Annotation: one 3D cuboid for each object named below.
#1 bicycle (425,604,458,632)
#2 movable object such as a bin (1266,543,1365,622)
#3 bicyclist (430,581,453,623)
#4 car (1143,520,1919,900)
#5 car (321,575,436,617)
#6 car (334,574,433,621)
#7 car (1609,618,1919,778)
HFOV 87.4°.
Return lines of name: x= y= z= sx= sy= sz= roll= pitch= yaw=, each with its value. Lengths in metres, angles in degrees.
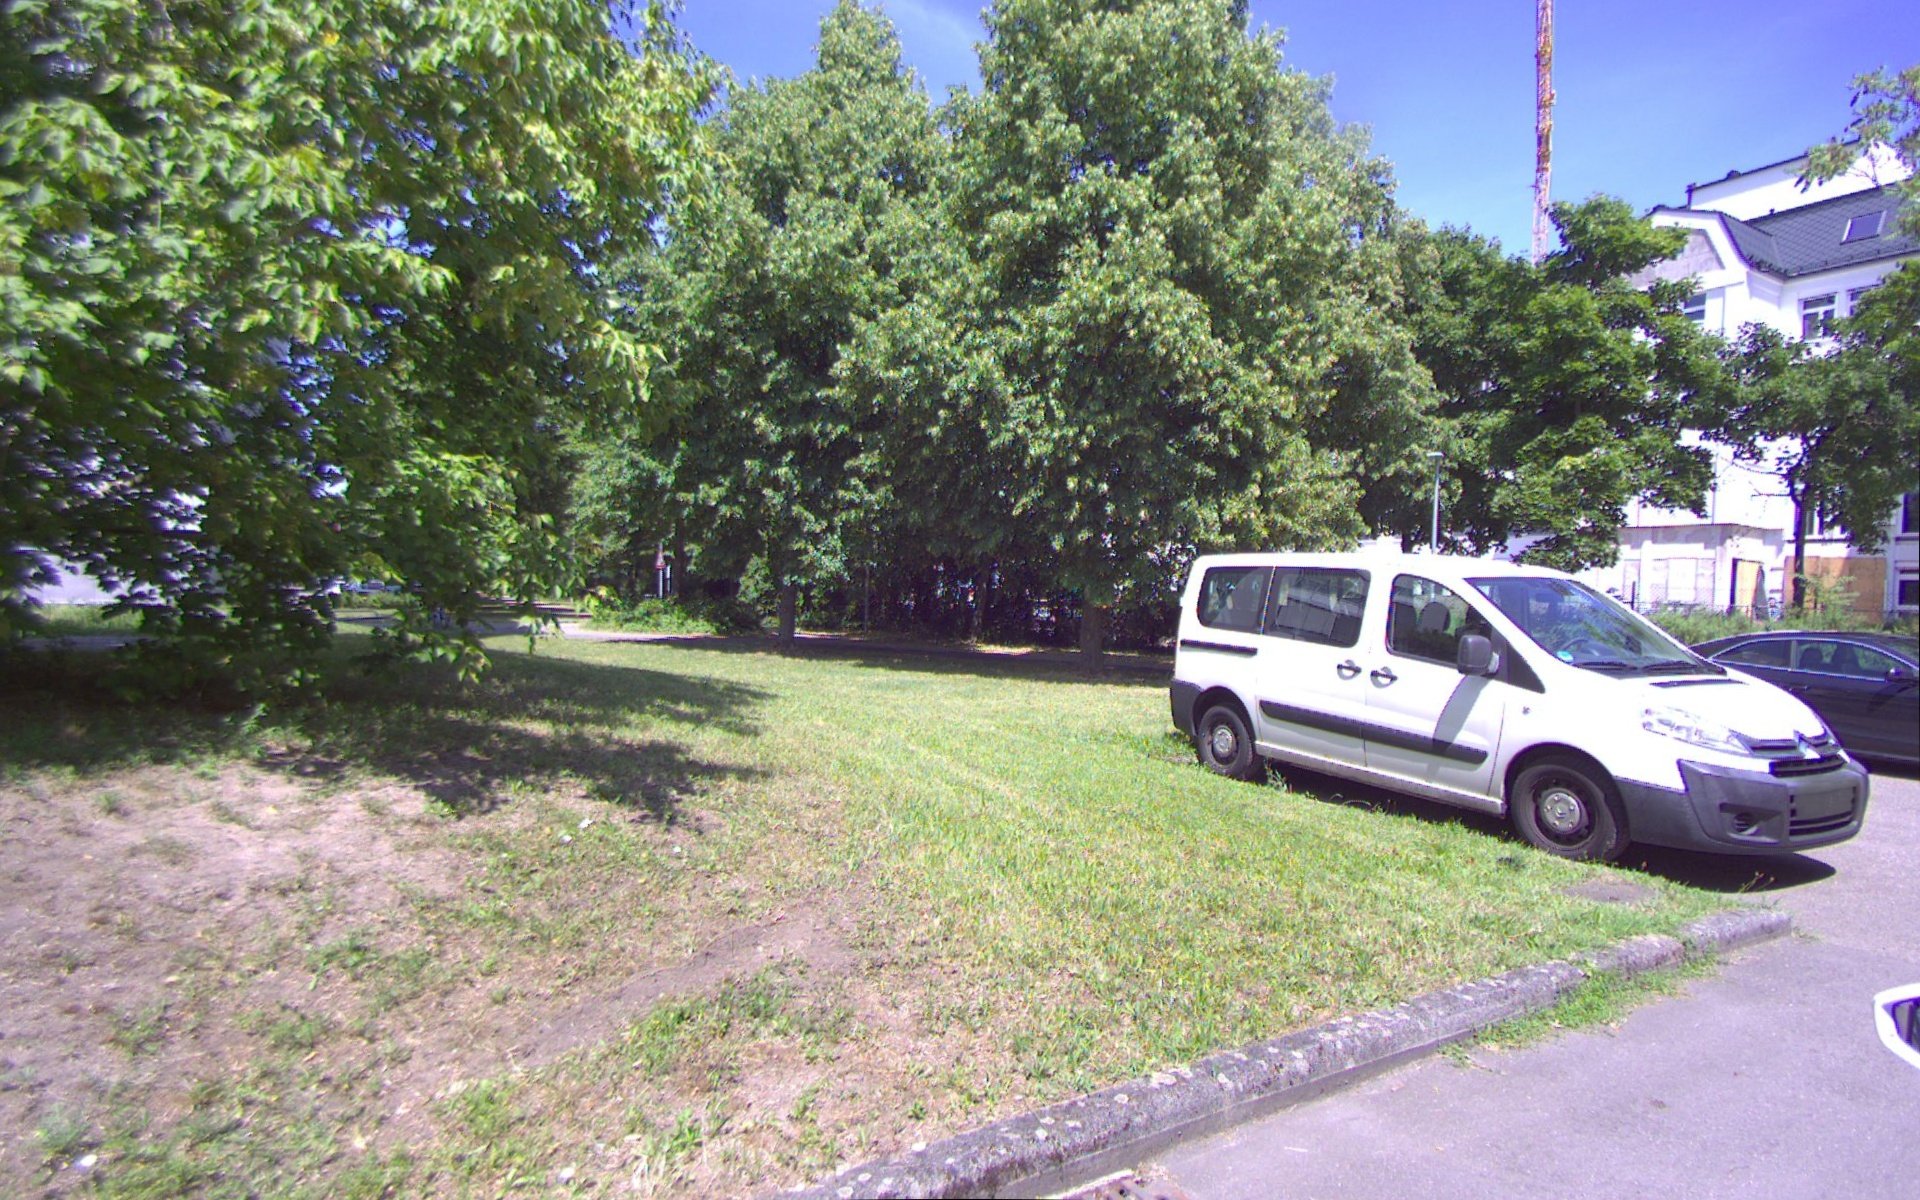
bicycle: x=-13.188 y=0.445 z=25.544 sx=0.725 sy=0.650 sz=1.604 roll=0 pitch=1 yaw=-28
movable object such as a bin: x=21.177 y=-1.017 z=60.183 sx=1.974 sy=4.430 sz=5.685 roll=3 pitch=0 yaw=-26
bicyclist: x=-13.208 y=0.040 z=25.575 sx=0.511 sy=1.059 sz=0.518 roll=-1 pitch=1 yaw=-28
car: x=3.739 y=0.559 z=7.671 sx=2.041 sy=1.908 sz=4.829 roll=3 pitch=0 yaw=-27
car: x=-25.814 y=-0.181 z=44.662 sx=4.294 sy=1.631 sz=1.916 roll=3 pitch=0 yaw=-33
car: x=-27.517 y=-0.098 z=48.012 sx=3.957 sy=2.040 sz=1.982 roll=3 pitch=0 yaw=-32
car: x=9.577 y=1.000 z=10.373 sx=1.998 sy=1.398 sz=4.412 roll=3 pitch=0 yaw=-27
